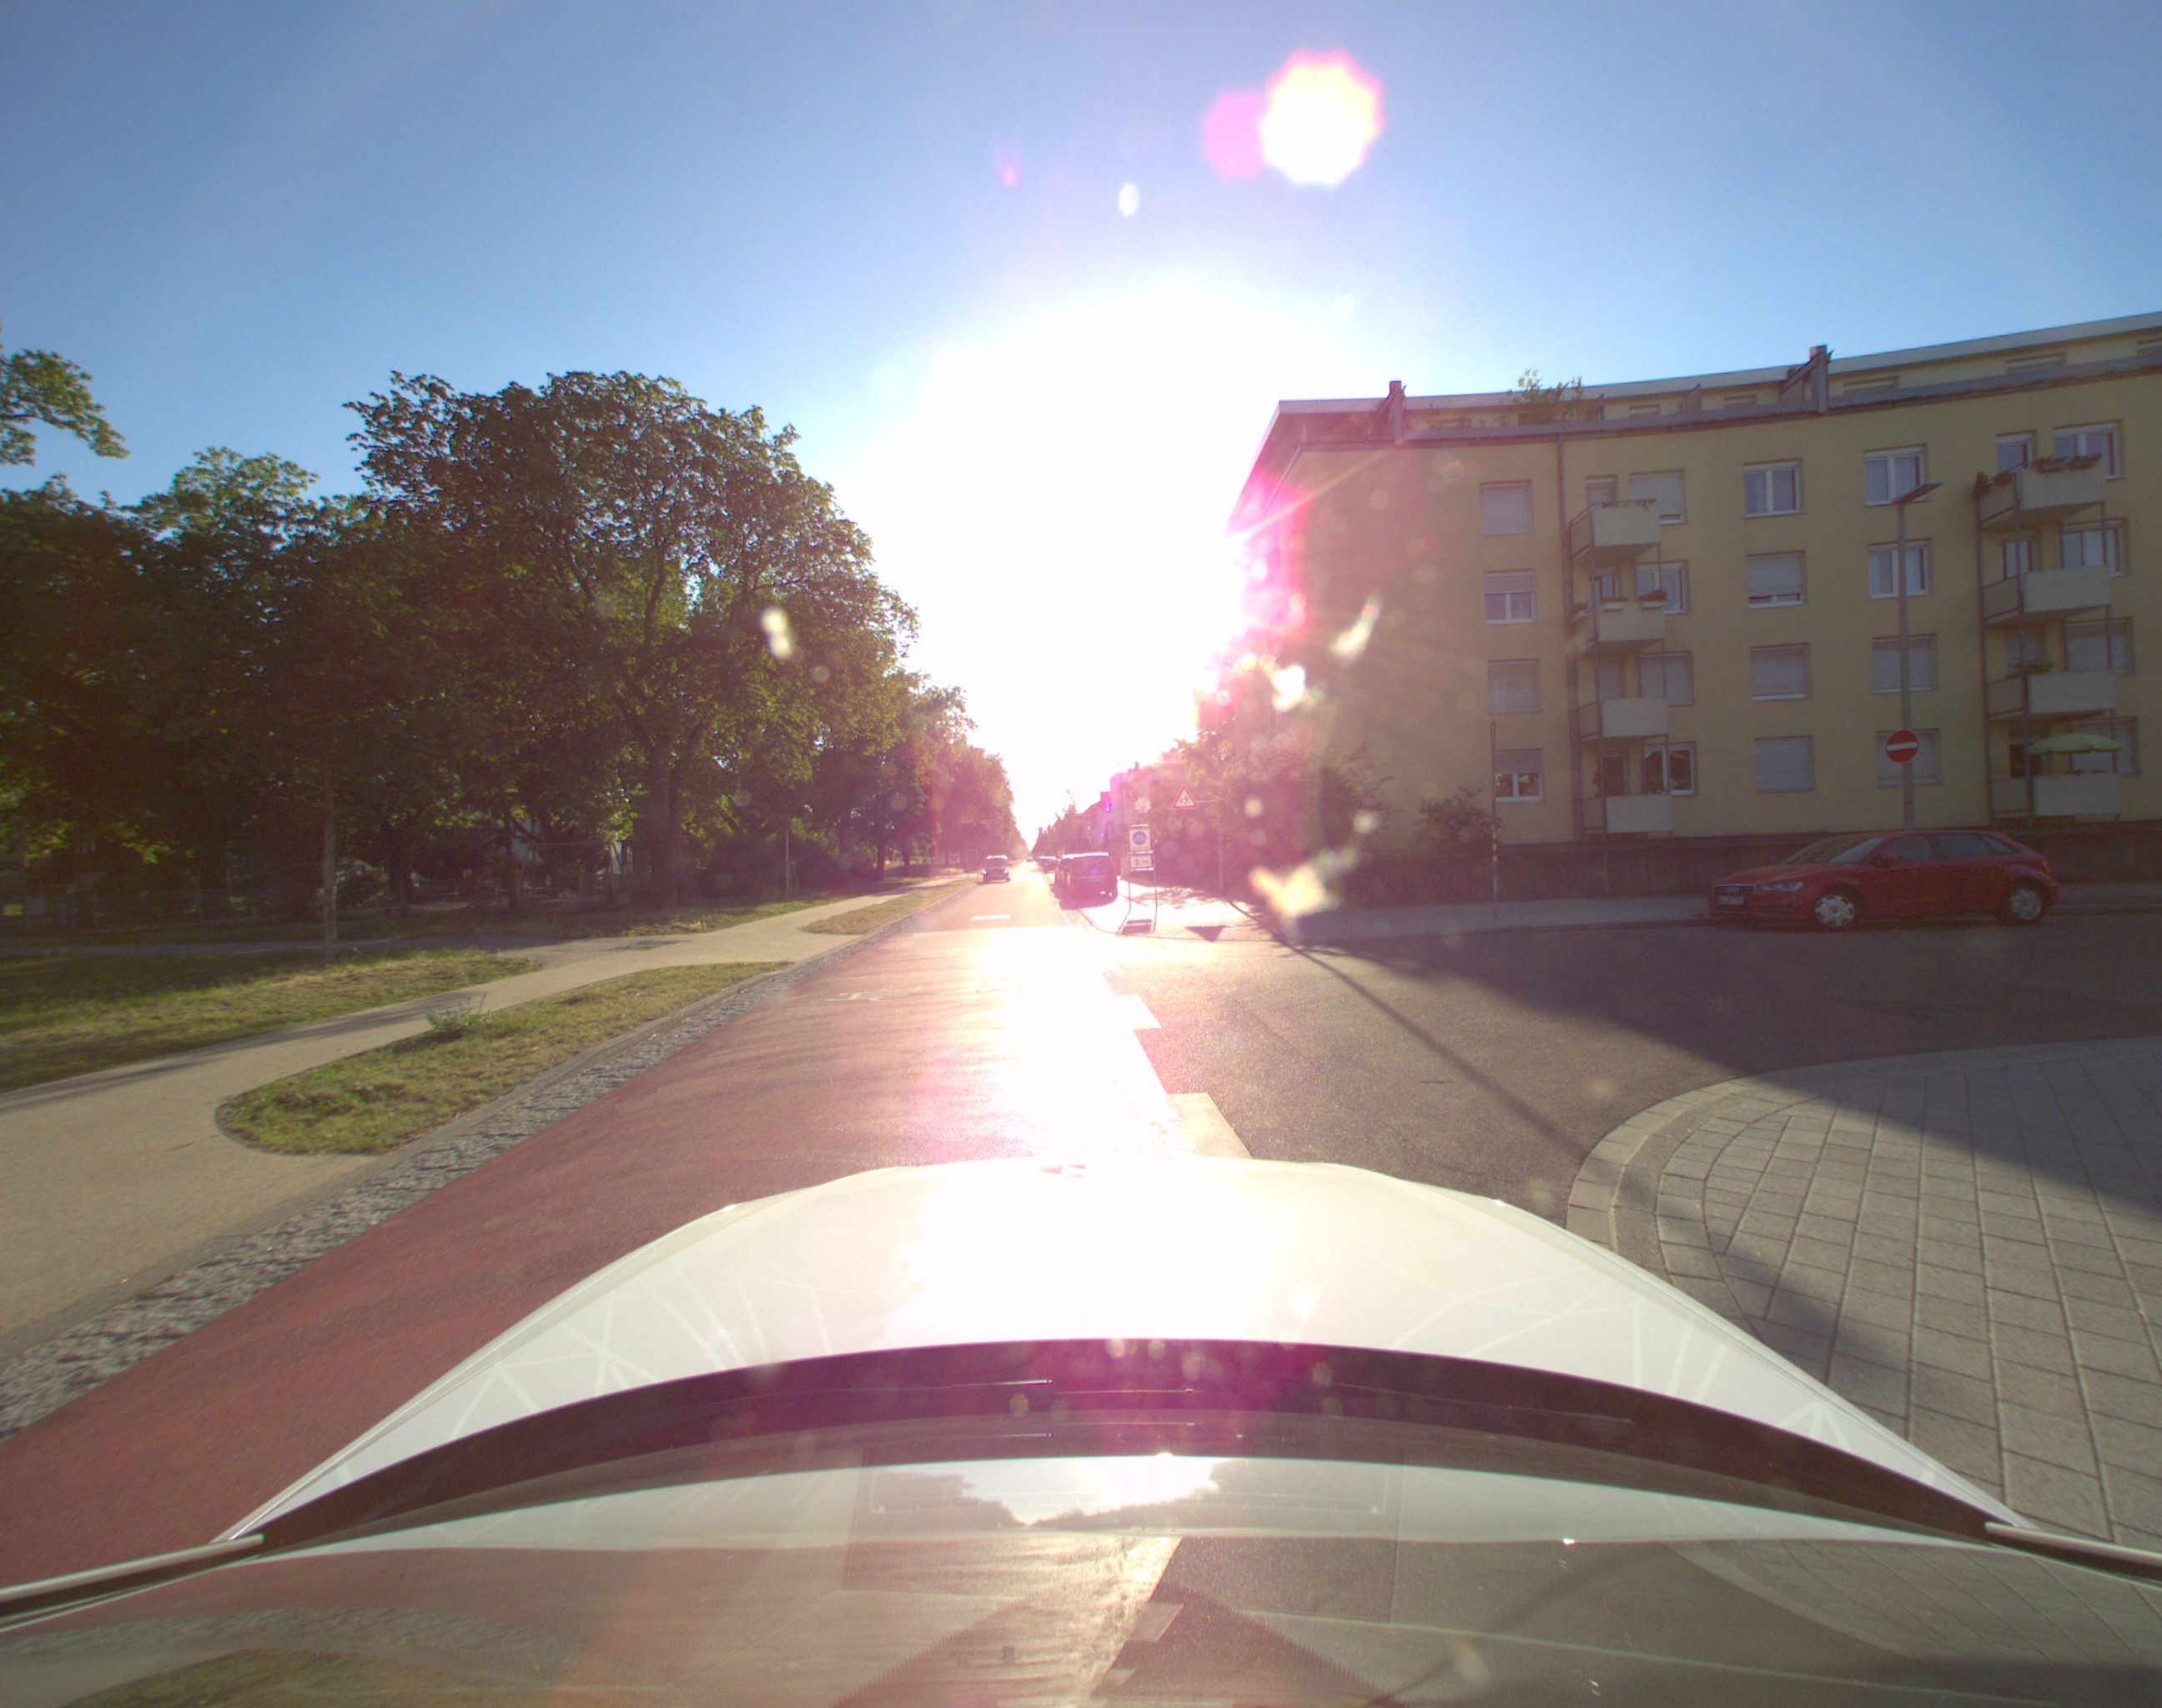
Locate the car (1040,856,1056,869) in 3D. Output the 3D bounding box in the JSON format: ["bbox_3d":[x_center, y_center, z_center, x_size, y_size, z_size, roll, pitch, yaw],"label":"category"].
[{"bbox_3d":[-3.911,0.956,95.839,1.623,1.409,4.243,-3,0,-4],"label":"car"}]

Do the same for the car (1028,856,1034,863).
[{"bbox_3d":[-14.314,1.585,233.153,1.623,1.669,4.243,-3,0,-4],"label":"car"}]

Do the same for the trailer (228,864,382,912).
[{"bbox_3d":[-45.408,1.900,48.016,2.453,2.489,7.042,-3,0,-3],"label":"trailer"}]

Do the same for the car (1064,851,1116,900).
[{"bbox_3d":[0.278,0.776,31.095,1.623,1.669,4.243,-3,0,-4],"label":"car"}]

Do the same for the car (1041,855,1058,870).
[{"bbox_3d":[-3.256,0.888,84.432,1.623,1.409,4.243,-3,0,-4],"label":"car"}]

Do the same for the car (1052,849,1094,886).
[{"bbox_3d":[-0.393,0.693,42.142,1.988,1.717,3.998,-3,0,-1],"label":"car"}]

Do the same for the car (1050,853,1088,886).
[{"bbox_3d":[-0.673,0.887,46.891,1.988,1.717,3.998,-3,0,-1],"label":"car"}]

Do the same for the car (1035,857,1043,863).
[{"bbox_3d":[-9.583,1.340,184.167,1.623,1.409,4.243,-3,0,-4],"label":"car"}]

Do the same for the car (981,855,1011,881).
[{"bbox_3d":[-5.890,0.970,56.738,1.822,1.669,4.243,-3,0,-4],"label":"car"}]

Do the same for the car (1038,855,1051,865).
[{"bbox_3d":[-5.173,0.840,115.632,1.623,1.409,4.243,-3,0,-4],"label":"car"}]

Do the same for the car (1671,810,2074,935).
[{"bbox_3d":[11.869,0.263,12.465,4.181,1.530,2.000,-3,0,0],"label":"car"}]

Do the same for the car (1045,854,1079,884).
[{"bbox_3d":[-1.198,0.930,52.101,1.988,1.717,3.998,-3,0,-1],"label":"car"}]
